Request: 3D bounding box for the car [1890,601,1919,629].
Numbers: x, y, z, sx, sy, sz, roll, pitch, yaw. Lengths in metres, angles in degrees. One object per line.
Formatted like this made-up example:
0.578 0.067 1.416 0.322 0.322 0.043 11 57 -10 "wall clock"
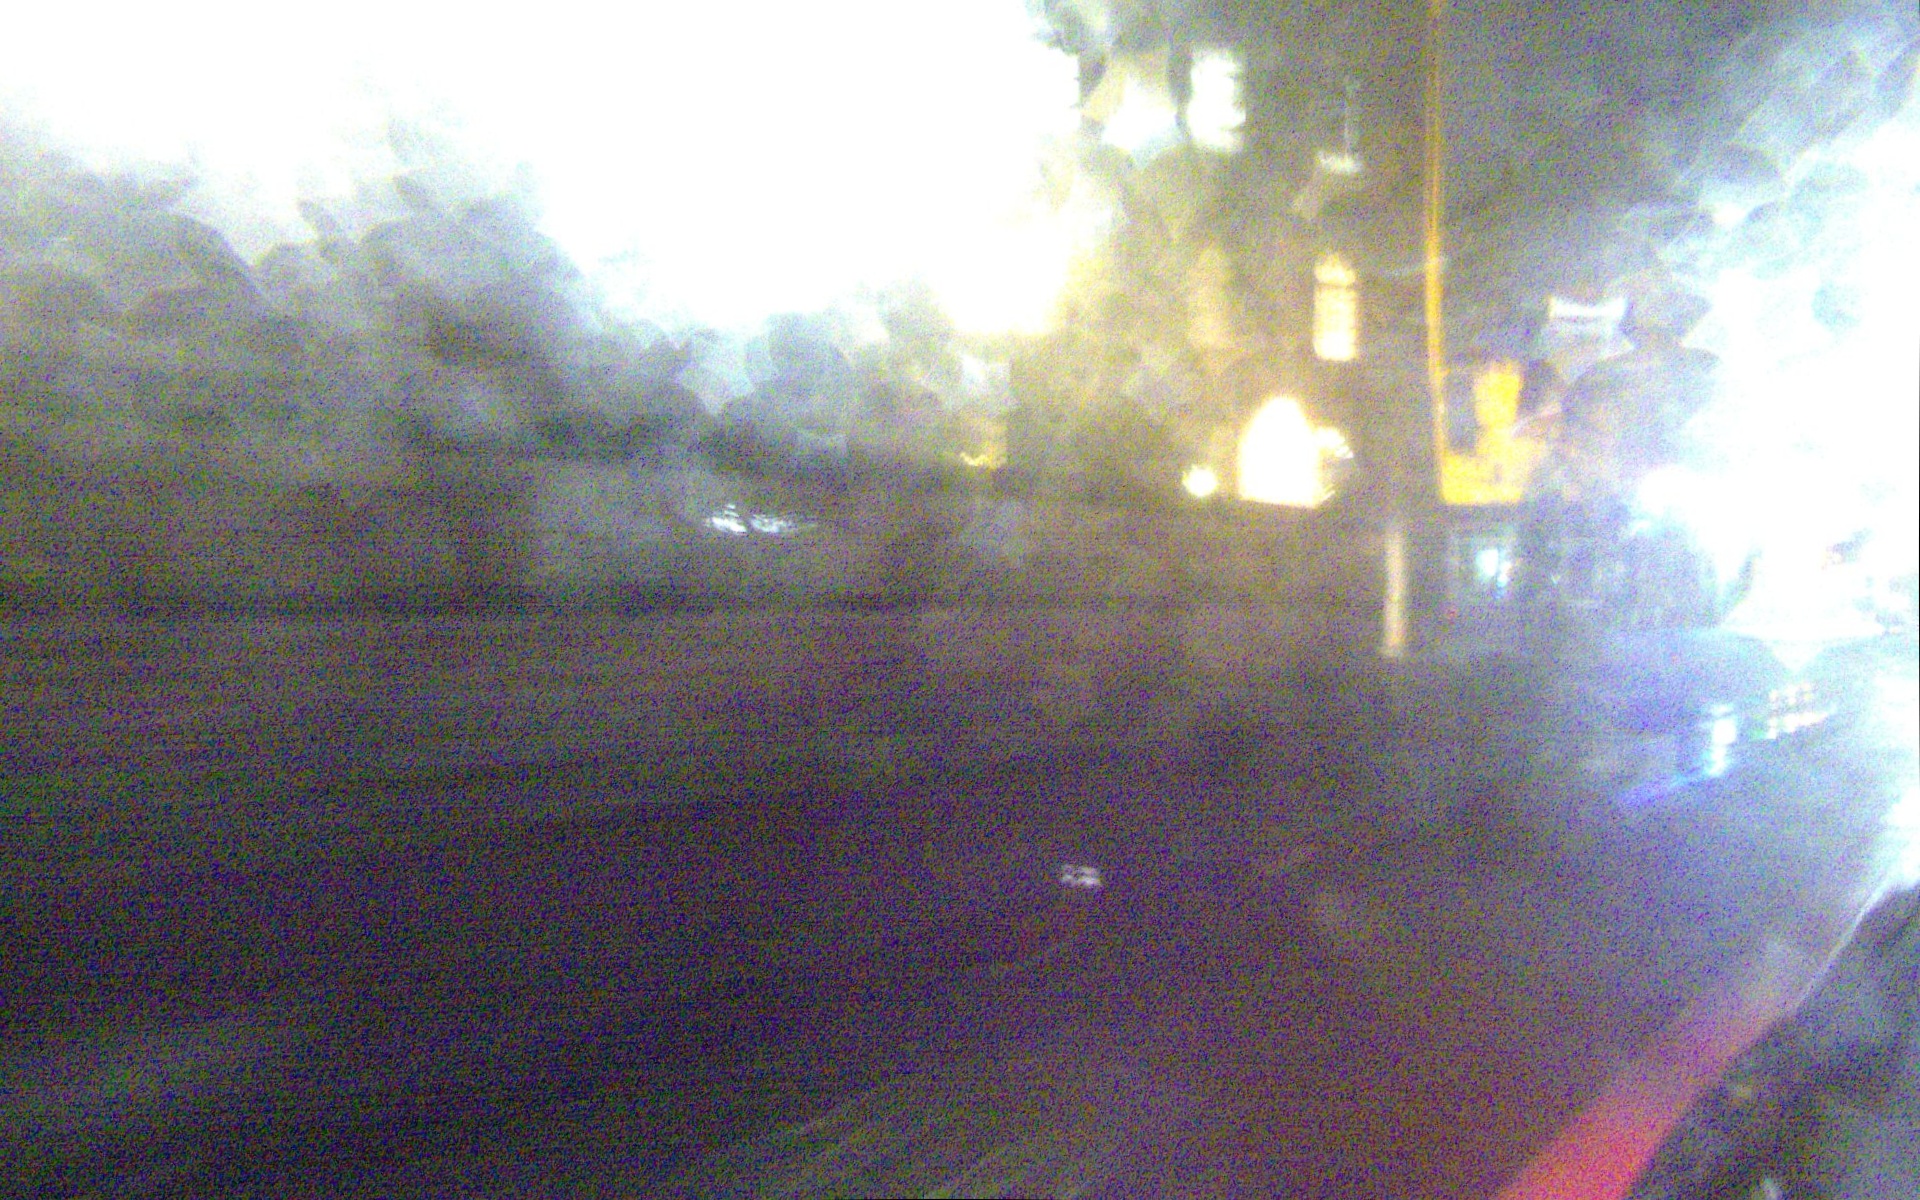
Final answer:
56.776 0.897 58.425 4.062 1.556 1.944 1 1 25 "car"
